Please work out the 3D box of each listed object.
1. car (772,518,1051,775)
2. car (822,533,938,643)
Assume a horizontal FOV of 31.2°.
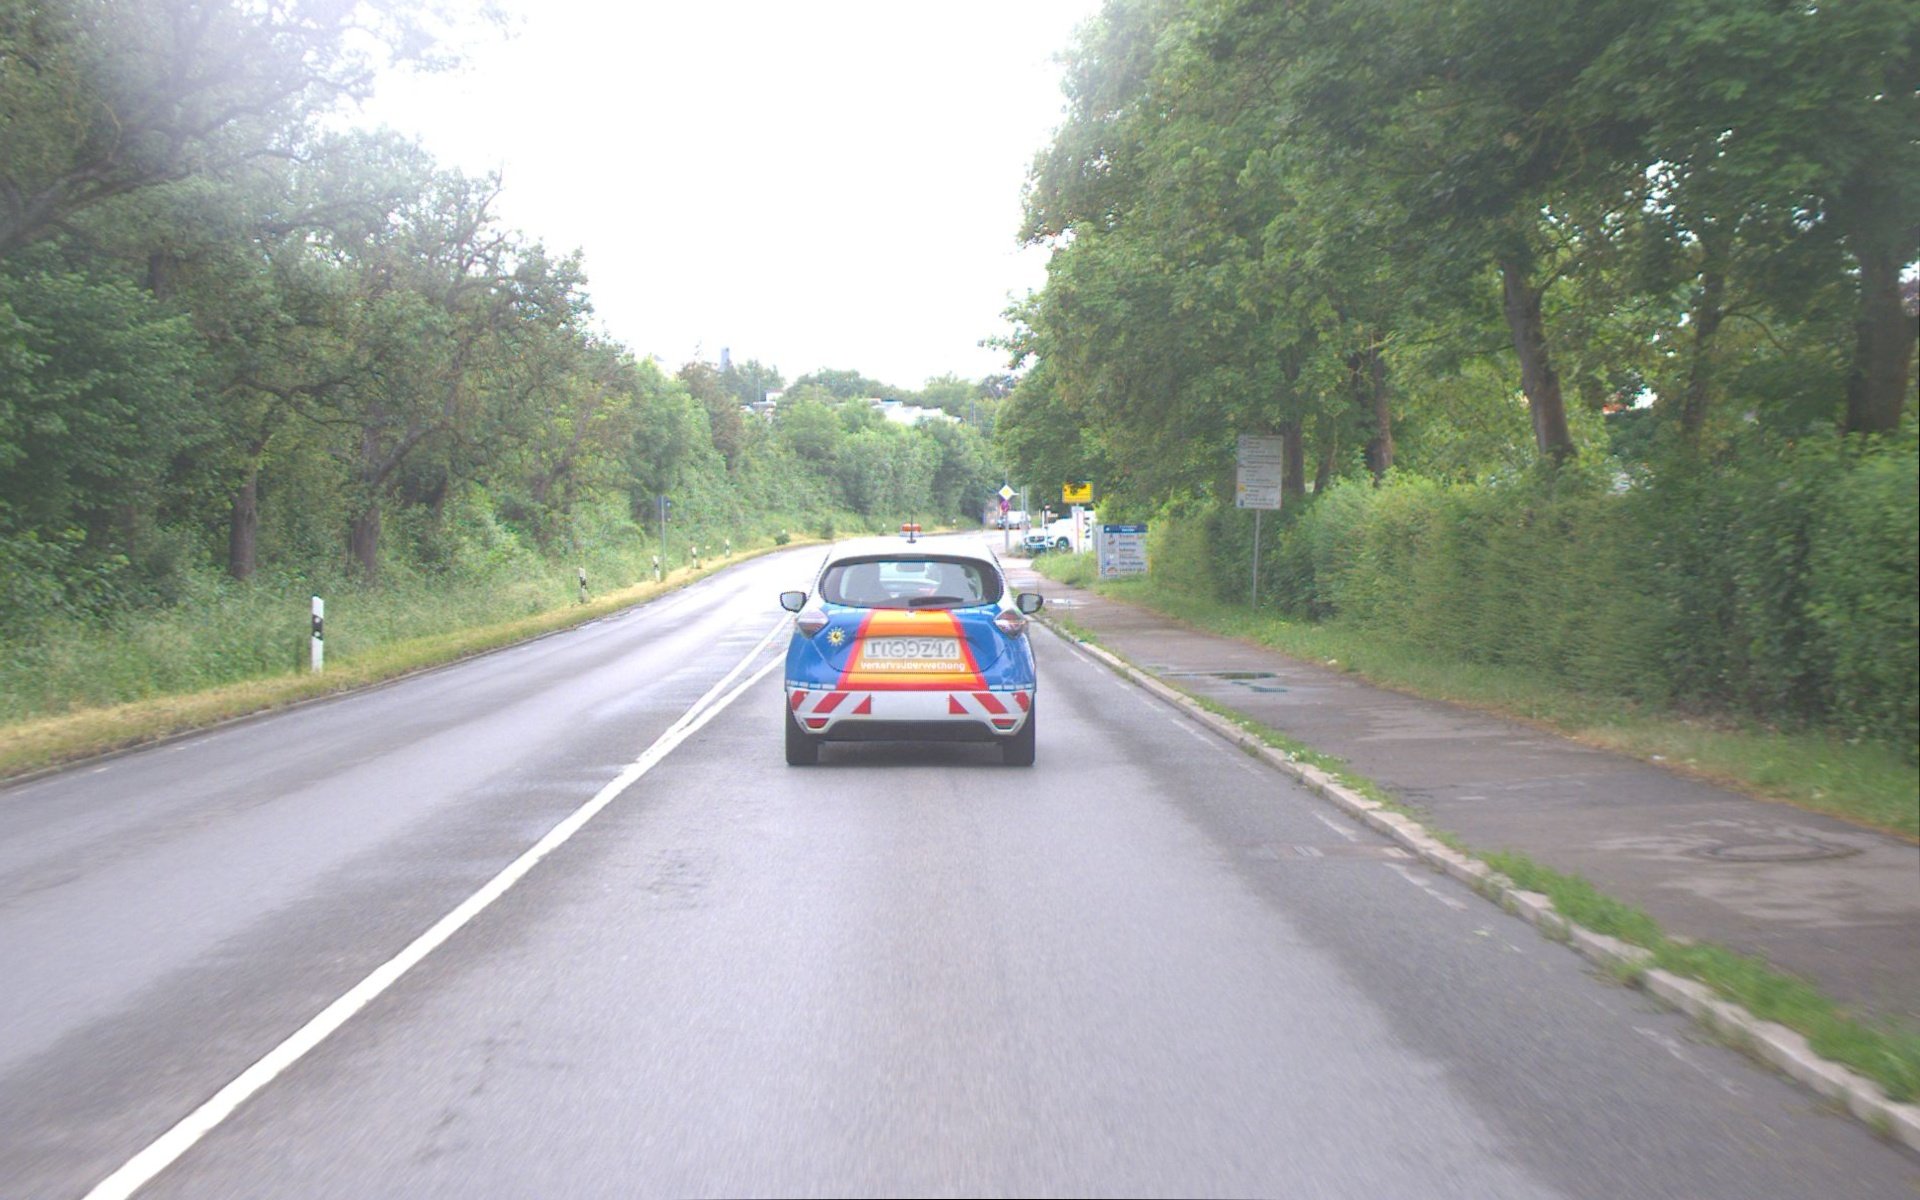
[{"bbox_3d":[-0.354,0.280,24.598,1.806,1.662,3.856,1,1,-1],"label":"car"},{"bbox_3d":[-1.244,-0.204,52.877,1.694,1.590,3.856,1,1,-2],"label":"car"}]
